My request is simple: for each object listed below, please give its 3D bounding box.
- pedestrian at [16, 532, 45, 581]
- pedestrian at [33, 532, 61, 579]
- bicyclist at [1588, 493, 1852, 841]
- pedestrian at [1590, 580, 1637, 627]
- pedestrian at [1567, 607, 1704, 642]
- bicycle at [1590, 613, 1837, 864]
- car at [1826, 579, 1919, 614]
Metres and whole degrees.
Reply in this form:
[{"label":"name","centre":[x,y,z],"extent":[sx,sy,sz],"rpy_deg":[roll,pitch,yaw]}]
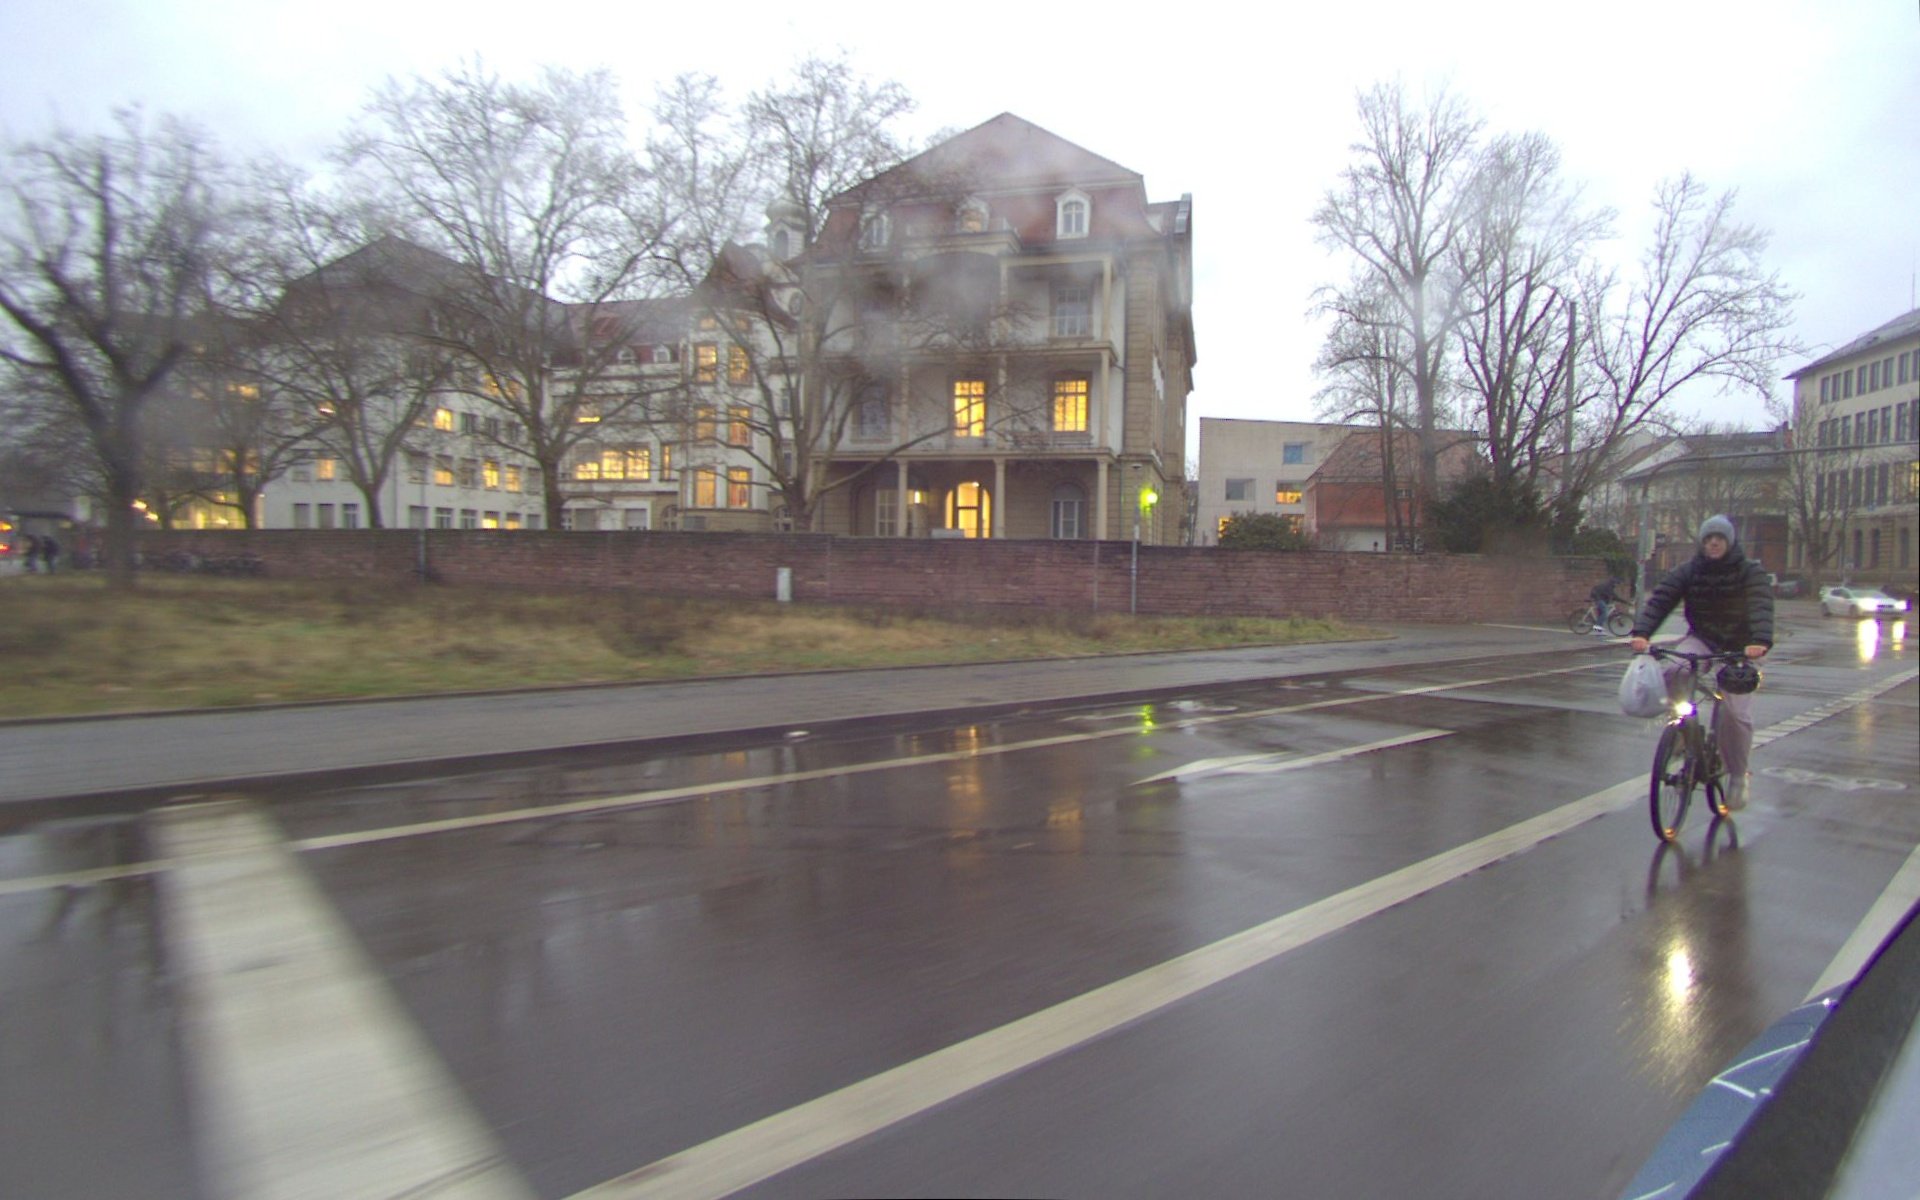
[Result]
[{"label":"pedestrian","centre":[-36.056,-1.689,39.260],"extent":[0.794,1.853,0.947],"rpy_deg":[0,3,-40]},{"label":"pedestrian","centre":[-36.664,-1.775,40.631],"extent":[0.794,1.853,0.947],"rpy_deg":[0,3,-40]},{"label":"bicyclist","centre":[4.730,0.330,6.306],"extent":[1.214,1.906,1.026],"rpy_deg":[-2,3,-40]},{"label":"pedestrian","centre":[19.522,0.092,30.255],"extent":[0.970,1.332,0.810],"rpy_deg":[2,2,20]},{"label":"pedestrian","centre":[19.017,0.678,28.602],"extent":[3.060,0.942,0.942],"rpy_deg":[0,0,20]},{"label":"bicycle","centre":[4.792,0.766,6.392],"extent":[1.870,1.237,0.794],"rpy_deg":[-3,4,-39]},{"label":"car","centre":[42.903,-0.160,47.510],"extent":[1.763,1.564,4.100],"rpy_deg":[1,1,15]}]
